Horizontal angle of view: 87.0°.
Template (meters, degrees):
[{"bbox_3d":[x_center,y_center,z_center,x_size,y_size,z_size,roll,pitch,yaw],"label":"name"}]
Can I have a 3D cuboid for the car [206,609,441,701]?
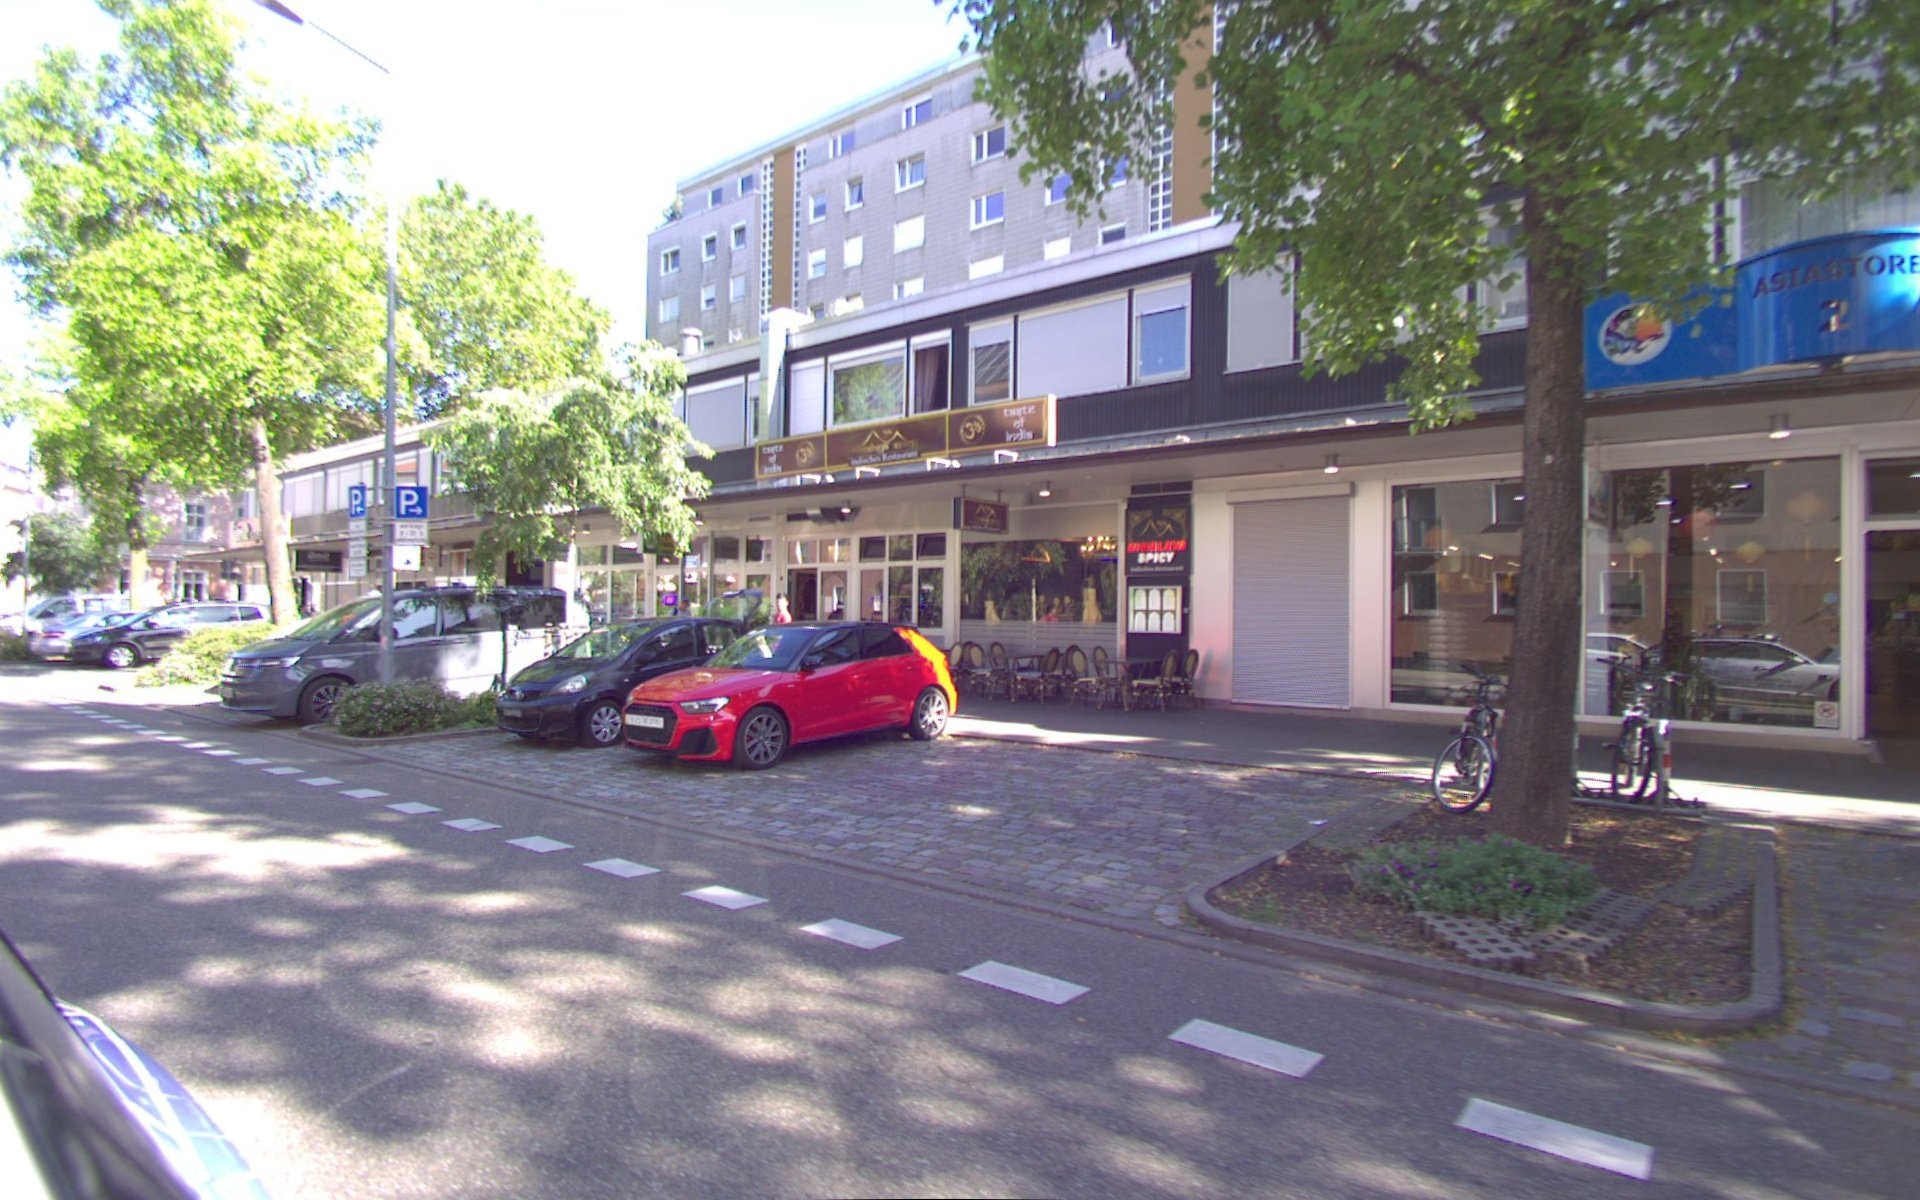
[{"bbox_3d":[-12.306,0.985,19.713,1.671,1.573,3.550,-1,0,39],"label":"car"}]

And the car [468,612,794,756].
[{"bbox_3d":[-3.931,0.906,12.602,1.610,1.461,3.634,-1,0,36],"label":"car"}]

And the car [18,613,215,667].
[{"bbox_3d":[-23.618,1.092,28.466,1.757,1.409,3.950,-1,-2,37],"label":"car"}]

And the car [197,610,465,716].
[{"bbox_3d":[-10.545,0.968,17.146,1.659,1.566,3.523,-1,0,38],"label":"car"}]

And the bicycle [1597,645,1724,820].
[{"bbox_3d":[5.515,0.959,7.924,0.586,1.115,1.848,-1,0,42],"label":"bicycle"}]

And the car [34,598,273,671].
[{"bbox_3d":[-21.441,0.845,27.094,1.871,1.790,4.724,-1,0,37],"label":"car"}]

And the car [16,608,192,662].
[{"bbox_3d":[-27.046,1.065,32.092,1.734,1.431,3.950,-1,1,37],"label":"car"}]

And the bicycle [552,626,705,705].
[{"bbox_3d":[-5.319,1.025,16.361,0.801,1.176,2.211,-1,-2,44],"label":"bicycle"}]

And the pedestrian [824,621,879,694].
[{"bbox_3d":[-1.941,1.008,18.084,0.746,1.255,0.642,-1,-2,39],"label":"pedestrian"}]

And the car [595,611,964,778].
[{"bbox_3d":[-1.815,0.877,11.193,1.708,1.461,3.880,-1,0,38],"label":"car"}]

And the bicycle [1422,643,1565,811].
[{"bbox_3d":[4.333,0.954,8.162,0.622,1.125,1.701,-1,0,42],"label":"bicycle"}]

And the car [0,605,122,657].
[{"bbox_3d":[-33.021,1.110,36.563,1.755,1.805,3.949,-1,-2,38],"label":"car"}]

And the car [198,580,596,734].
[{"bbox_3d":[-8.304,0.724,15.393,1.871,1.953,4.980,-1,0,39],"label":"car"}]

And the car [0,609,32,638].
[{"bbox_3d":[-57.179,1.382,60.344,1.645,1.650,4.061,1,-1,-27],"label":"car"}]

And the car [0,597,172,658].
[{"bbox_3d":[-30.780,0.899,35.253,1.906,1.984,4.936,-1,-1,37],"label":"car"}]

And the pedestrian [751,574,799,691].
[{"bbox_3d":[-2.804,0.491,15.345,0.571,1.725,0.637,1,-2,-23],"label":"pedestrian"}]
